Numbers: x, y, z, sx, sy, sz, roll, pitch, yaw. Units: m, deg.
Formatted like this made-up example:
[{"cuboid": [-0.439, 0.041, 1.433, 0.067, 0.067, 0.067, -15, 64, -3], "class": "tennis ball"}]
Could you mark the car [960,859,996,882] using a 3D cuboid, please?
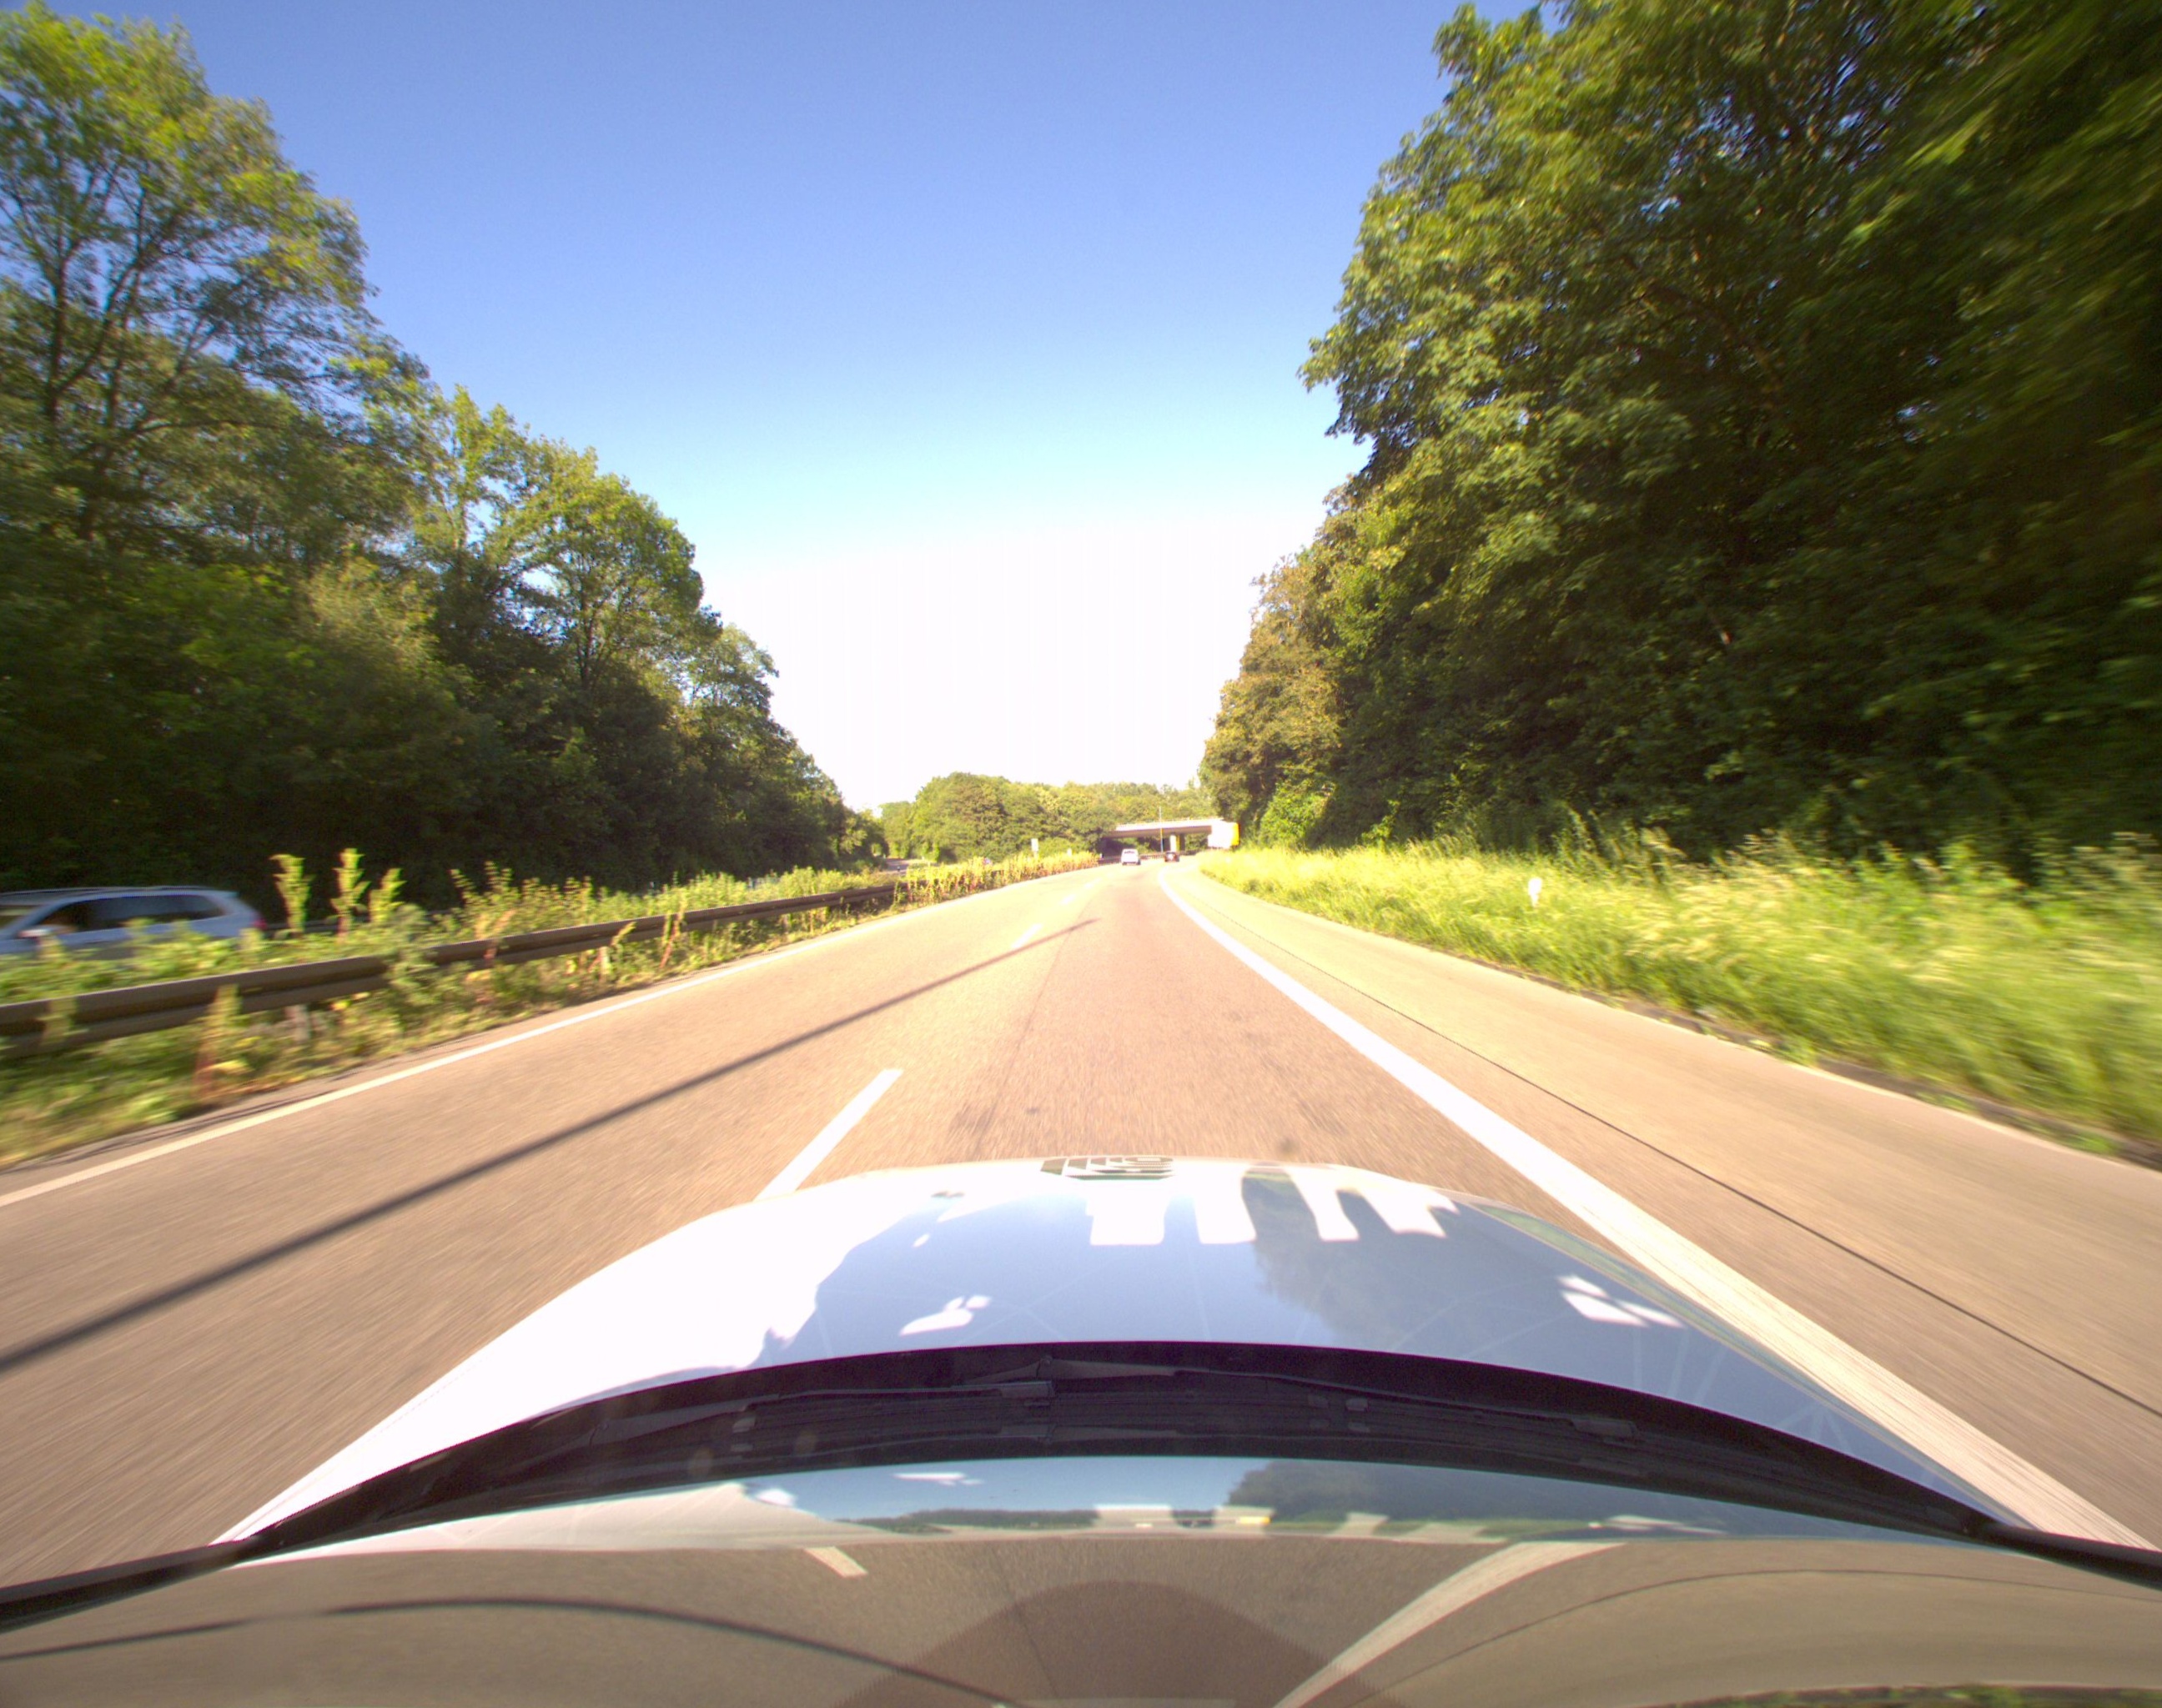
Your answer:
[{"cuboid": [-9.430, 1.532, 75.137, 2.035, 2.014, 4.772, -1, 0, 8], "class": "car"}]

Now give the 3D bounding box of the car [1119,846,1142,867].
[{"cuboid": [5.647, 0.233, 92.054, 1.981, 2.277, 4.012, -2, 0, 11], "class": "car"}]

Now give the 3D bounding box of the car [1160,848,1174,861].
[{"cuboid": [11.788, 0.109, 111.197, 1.730, 1.662, 3.953, -2, 0, 7], "class": "car"}]

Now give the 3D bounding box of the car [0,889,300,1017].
[{"cuboid": [-14.733, 1.358, 11.674, 1.987, 1.486, 5.238, -1, 0, 0], "class": "car"}]
